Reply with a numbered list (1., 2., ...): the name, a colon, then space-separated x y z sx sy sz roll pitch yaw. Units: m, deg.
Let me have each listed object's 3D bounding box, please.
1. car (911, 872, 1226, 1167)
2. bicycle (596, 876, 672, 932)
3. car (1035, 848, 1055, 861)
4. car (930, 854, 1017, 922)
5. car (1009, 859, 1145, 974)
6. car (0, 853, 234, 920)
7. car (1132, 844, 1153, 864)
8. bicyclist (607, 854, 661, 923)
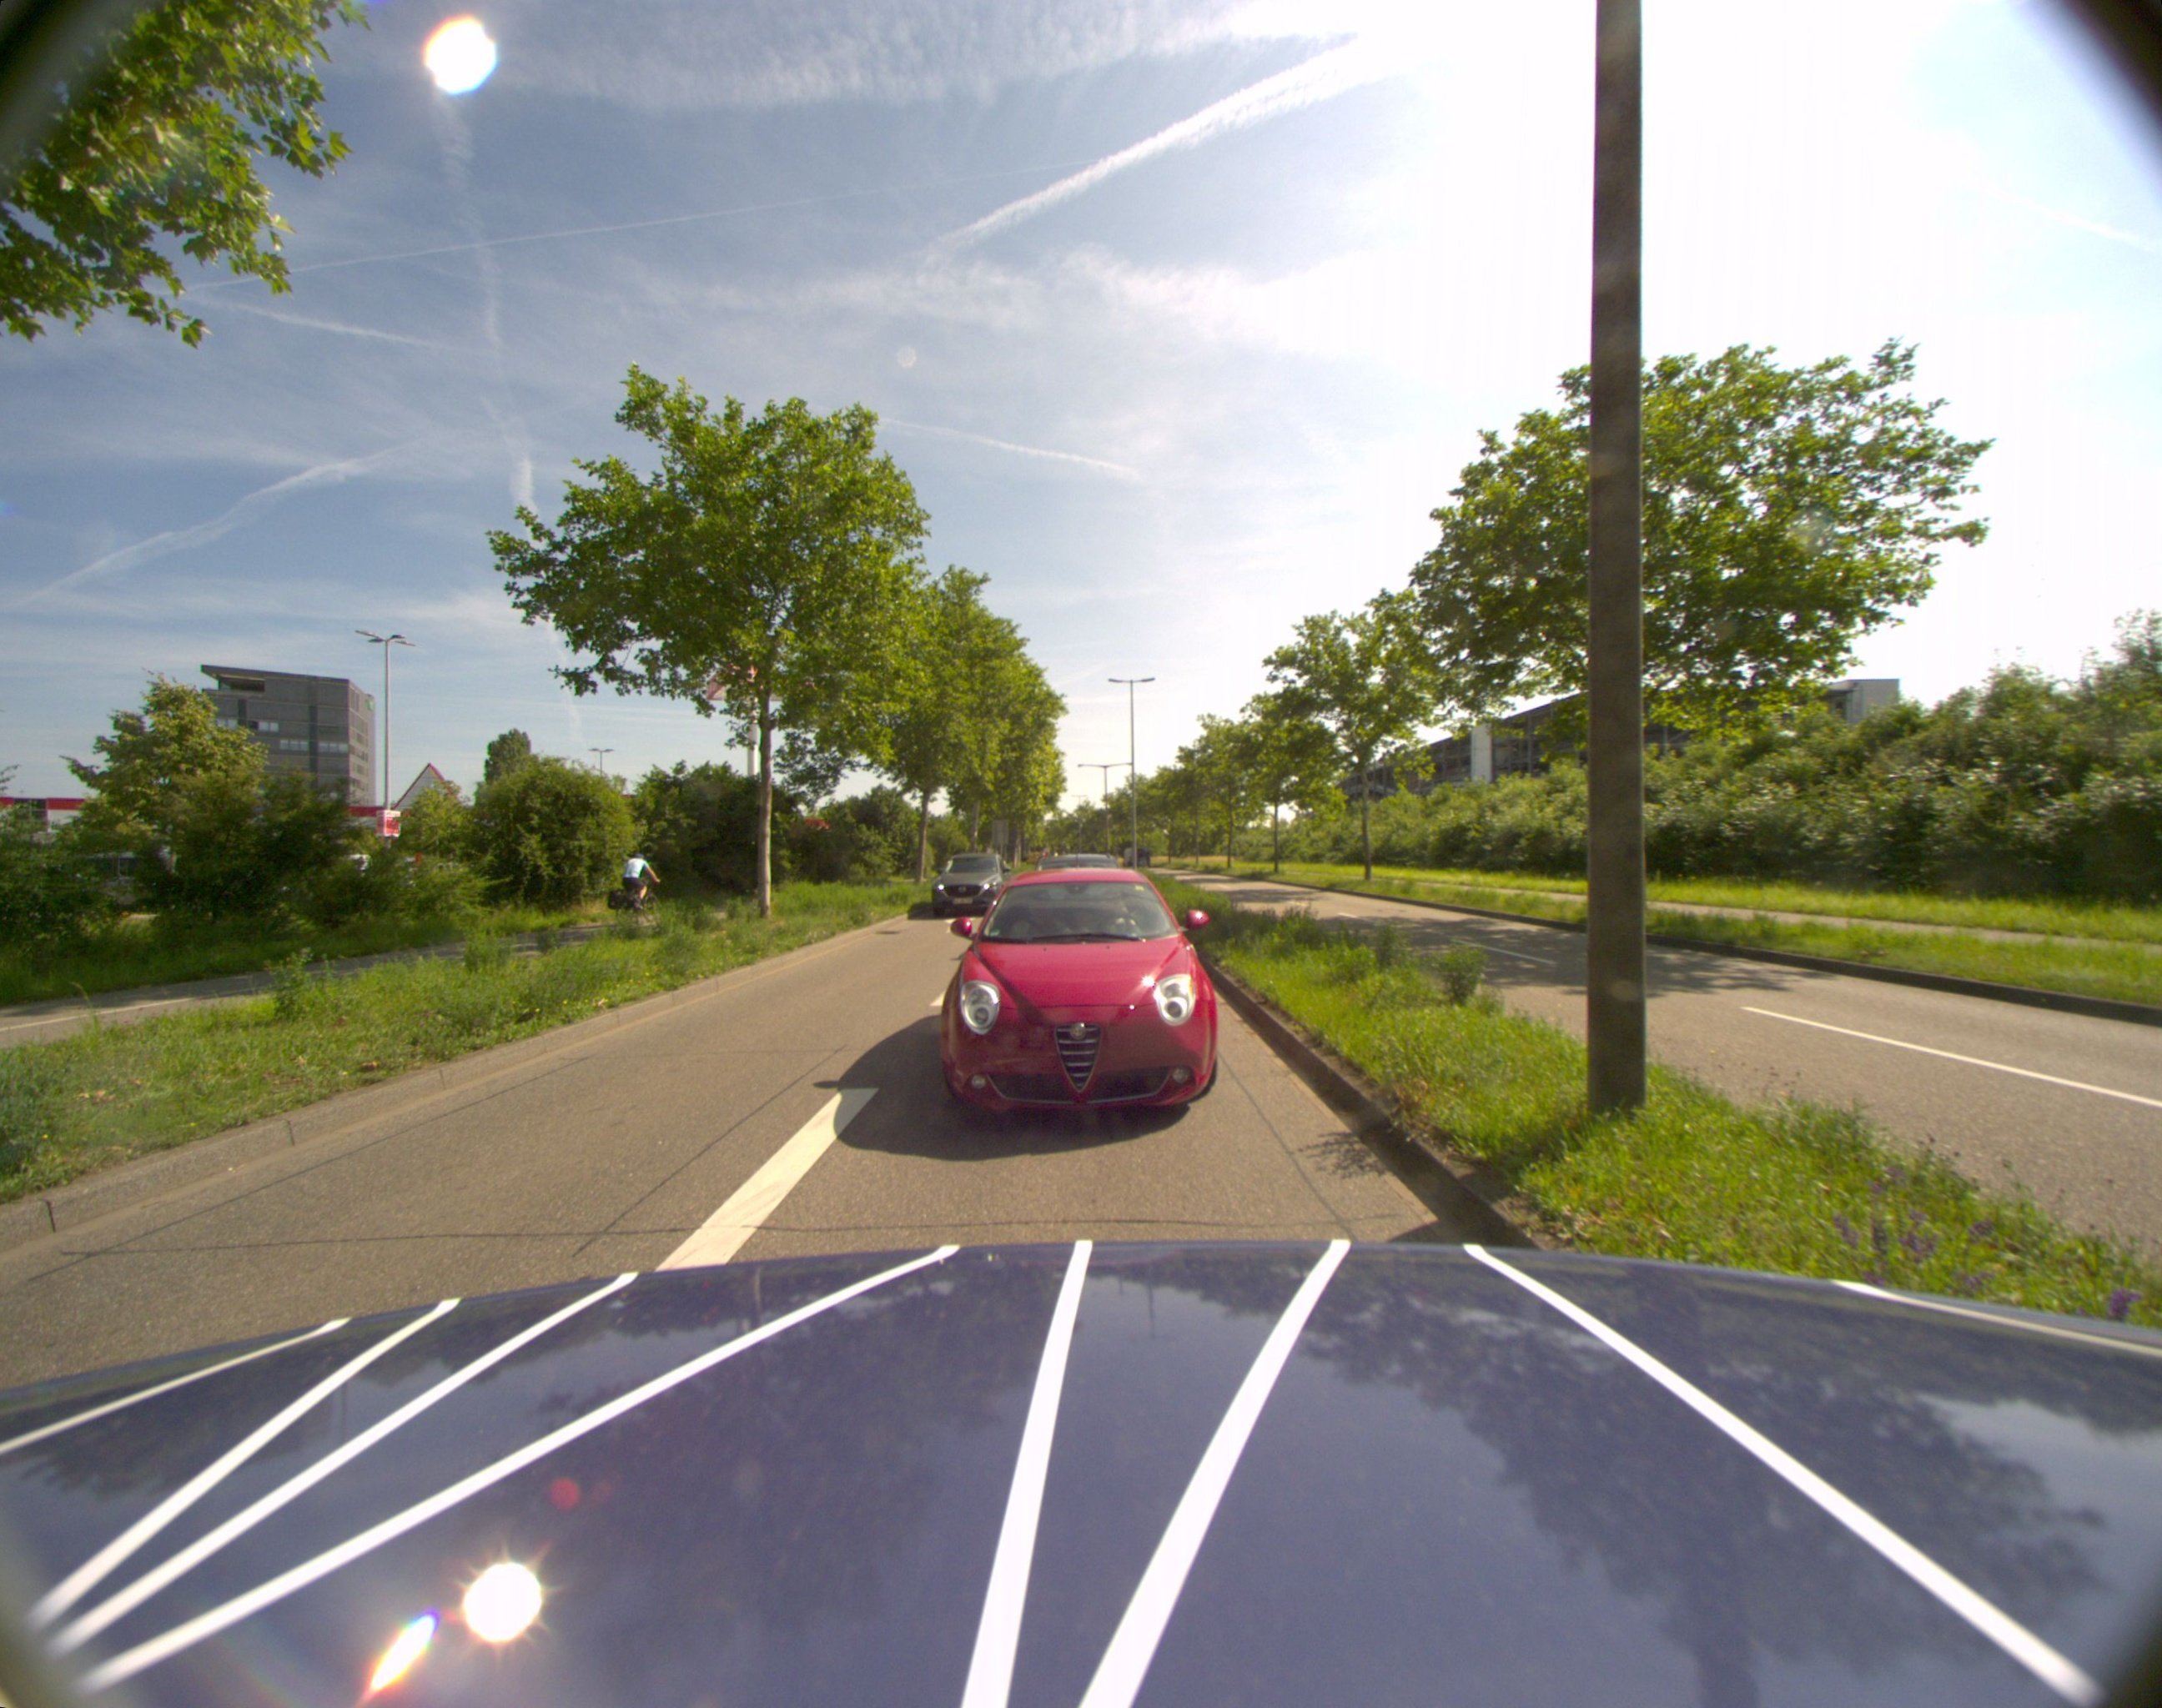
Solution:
1. car: -0.041 0.944 6.064 1.658 1.430 3.908 -2 0 1
2. bicycle: -10.845 1.173 18.513 0.687 1.230 1.934 0 1 1
3. car: -6.924 0.139 144.575 2.067 2.396 5.995 0 0 -20
4. car: -2.937 0.856 21.596 1.770 1.649 4.495 -2 0 0
5. car: -0.029 0.889 12.707 1.874 1.536 4.081 -1 0 1
6. car: -25.074 0.769 19.690 3.870 1.576 1.844 -1 1 -38
7. car: 7.384 -0.020 91.343 2.064 2.396 5.538 0 0 0
8. bicyclist: -10.846 0.817 18.457 0.687 1.622 1.002 0 1 1
